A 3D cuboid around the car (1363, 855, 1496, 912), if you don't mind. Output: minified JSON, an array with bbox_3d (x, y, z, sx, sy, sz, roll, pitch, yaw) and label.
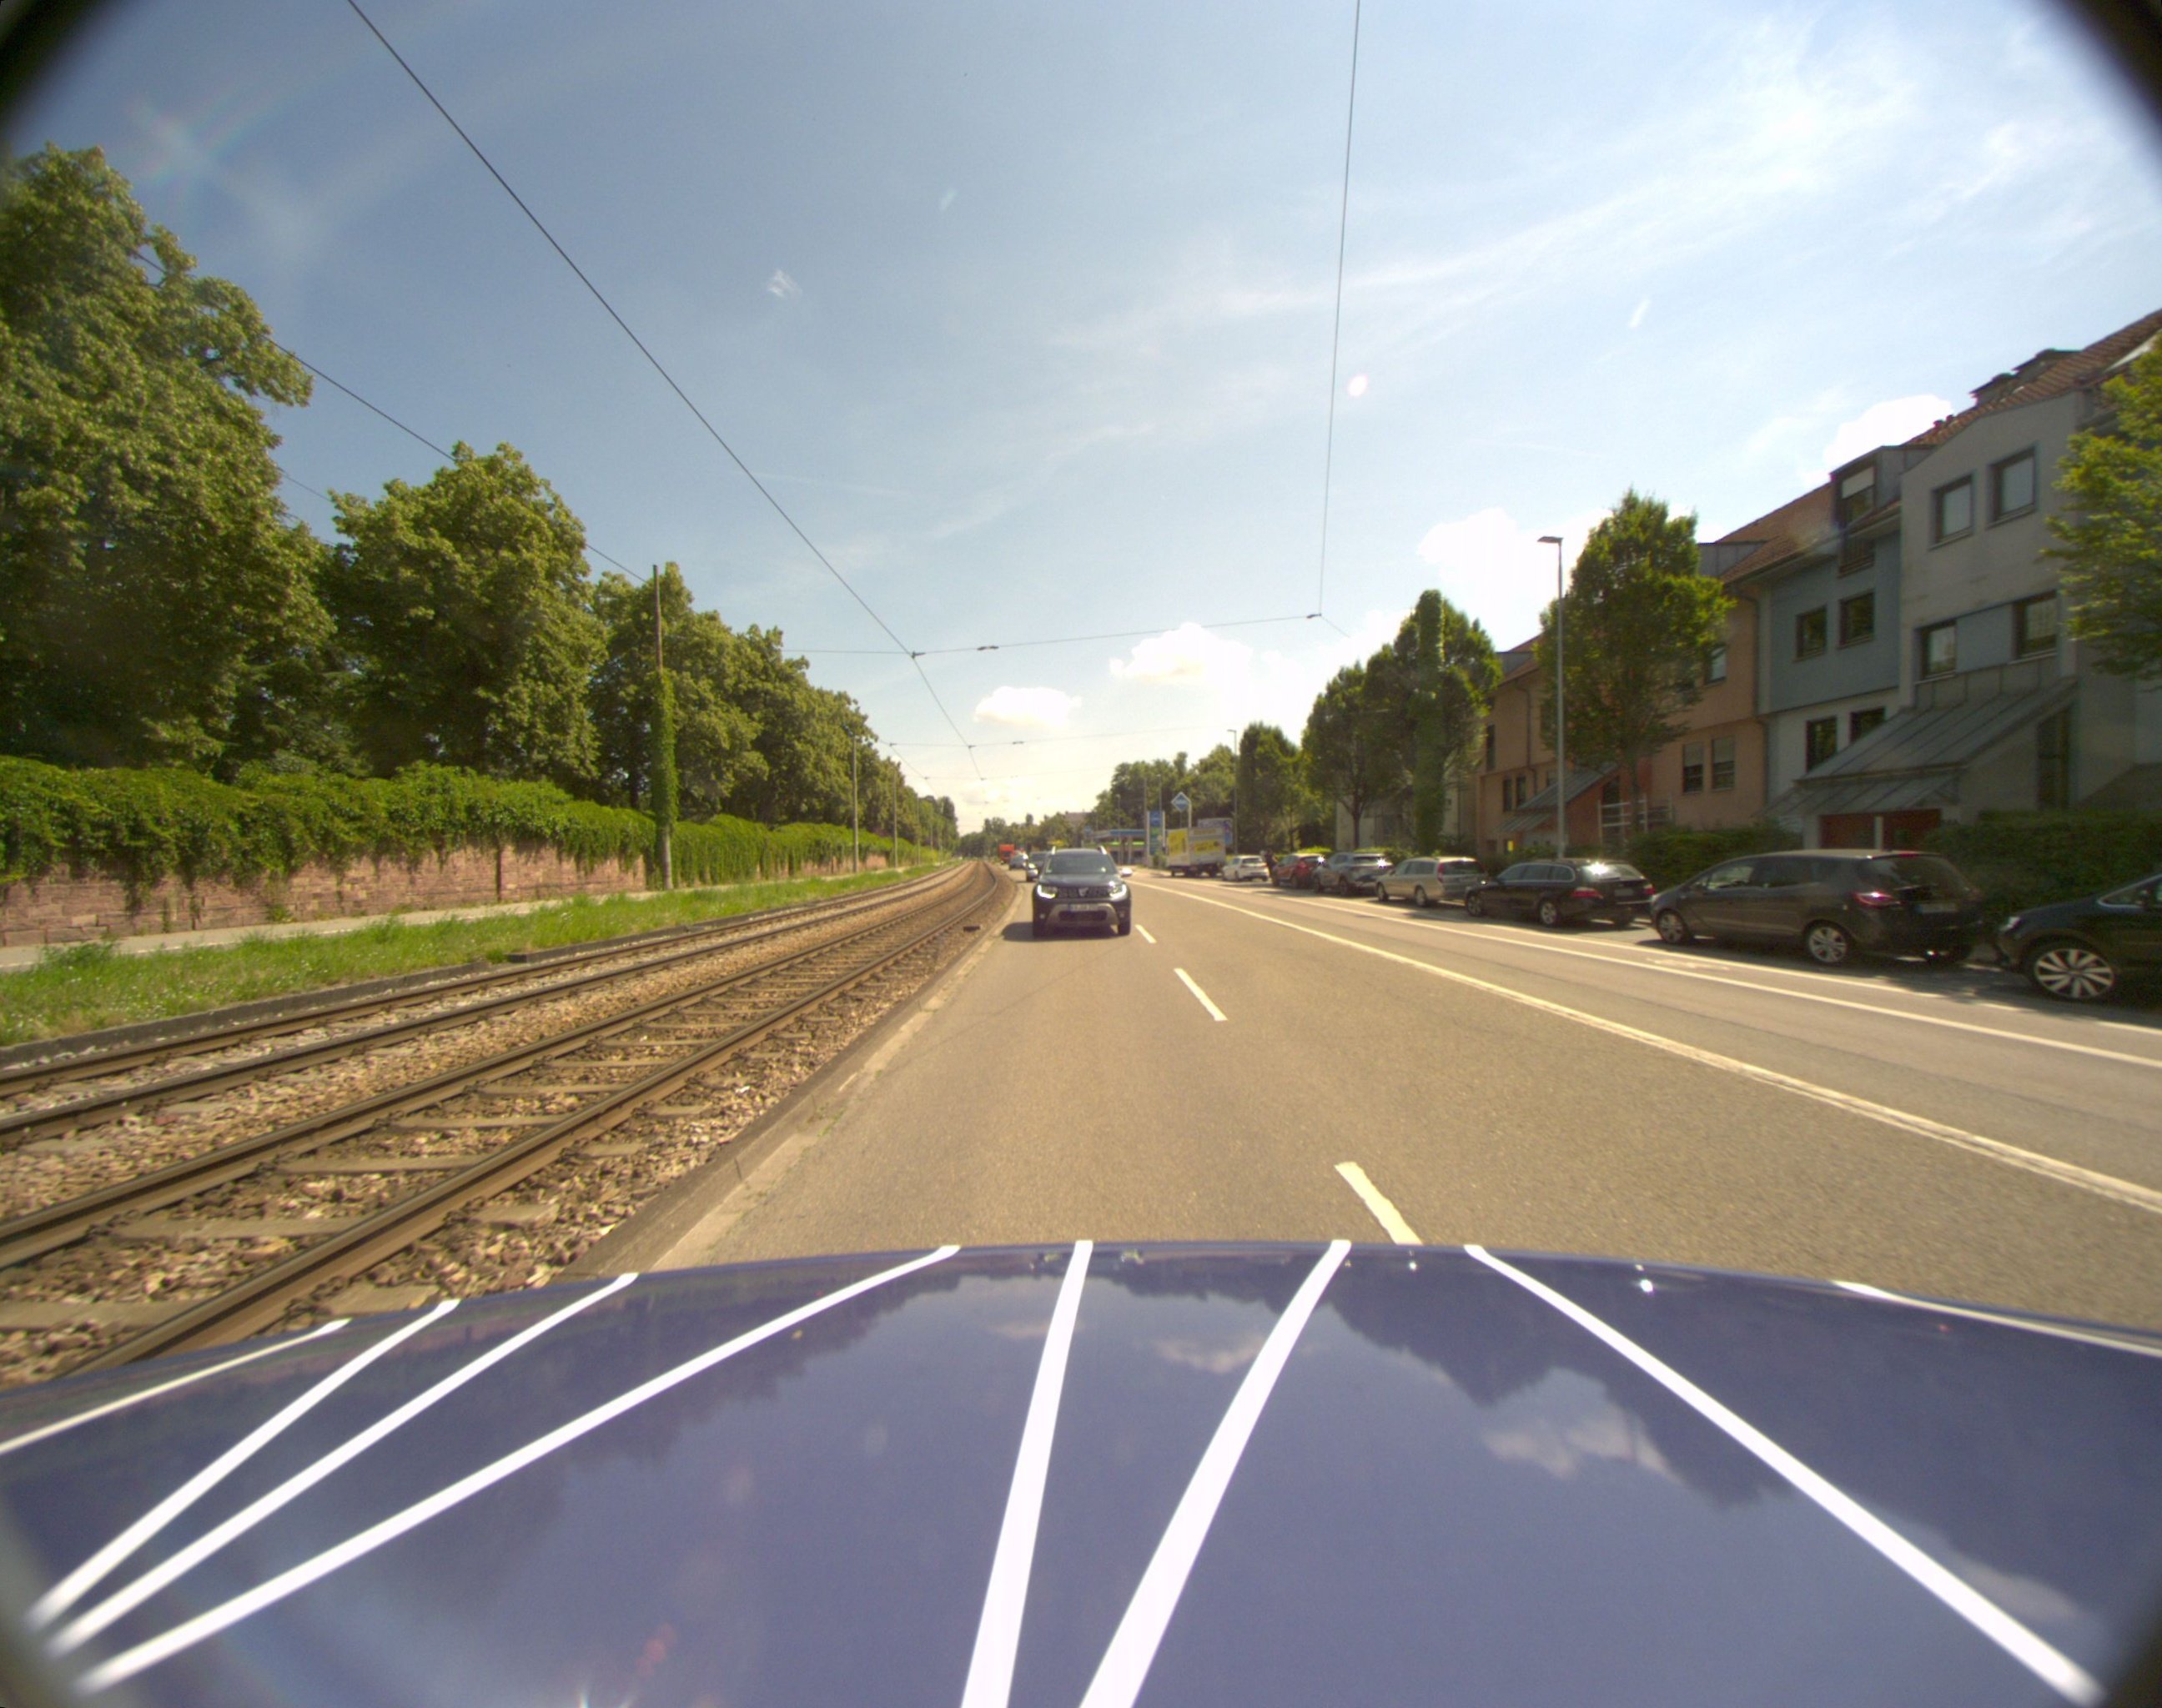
[{"bbox_3d":[10.762,0.830,23.902,1.660,1.499,4.893,-2,1,-4],"label":"car"}]

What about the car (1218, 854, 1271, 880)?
[{"bbox_3d":[9.315,0.728,43.671,1.660,1.402,4.394,0,0,-6],"label":"car"}]

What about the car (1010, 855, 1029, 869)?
[{"bbox_3d":[-6.636,0.841,81.900,1.999,1.346,3.998,2,0,-5],"label":"car"}]

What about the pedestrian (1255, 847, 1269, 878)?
[{"bbox_3d":[11.133,0.500,46.722,0.642,1.911,0.710,0,1,37],"label":"pedestrian"}]

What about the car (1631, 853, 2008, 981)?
[{"bbox_3d":[10.995,0.809,11.857,1.660,1.608,4.284,0,1,-1],"label":"car"}]

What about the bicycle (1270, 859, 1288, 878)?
[{"bbox_3d":[11.930,0.868,45.808,0.458,1.119,1.663,0,0,-10],"label":"bicycle"}]

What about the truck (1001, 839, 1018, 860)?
[{"bbox_3d":[-12.983,-0.804,137.542,2.847,3.574,8.700,-1,1,-6],"label":"truck"}]

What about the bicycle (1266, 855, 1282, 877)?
[{"bbox_3d":[11.970,0.747,47.123,0.457,1.308,1.664,0,0,-4],"label":"bicycle"}]

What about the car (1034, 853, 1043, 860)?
[{"bbox_3d":[-9.679,0.572,172.377,1.999,1.379,3.998,0,0,-5],"label":"car"}]

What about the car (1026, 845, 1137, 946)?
[{"bbox_3d":[-0.157,0.687,15.543,1.802,1.652,4.784,-2,1,-5],"label":"car"}]

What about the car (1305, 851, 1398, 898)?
[{"bbox_3d":[10.342,0.723,29.442,1.660,1.600,4.686,-3,0,-3],"label":"car"}]

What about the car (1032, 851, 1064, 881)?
[{"bbox_3d":[-2.047,0.684,46.266,1.802,1.683,4.143,0,0,-4],"label":"car"}]

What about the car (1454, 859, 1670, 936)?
[{"bbox_3d":[10.881,0.892,17.738,1.746,1.438,4.962,-2,0,-2],"label":"car"}]

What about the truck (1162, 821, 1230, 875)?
[{"bbox_3d":[8.233,-0.415,55.566,2.840,3.528,8.166,-3,0,-6],"label":"truck"}]

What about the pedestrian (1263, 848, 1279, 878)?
[{"bbox_3d":[11.501,0.547,45.999,0.685,1.784,0.702,-1,1,-33],"label":"pedestrian"}]

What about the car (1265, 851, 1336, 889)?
[{"bbox_3d":[10.084,0.694,35.209,1.660,1.600,4.171,-1,1,-6],"label":"car"}]

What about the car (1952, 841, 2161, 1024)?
[{"bbox_3d":[10.959,0.725,6.337,1.755,1.706,4.887,0,0,0],"label":"car"}]
